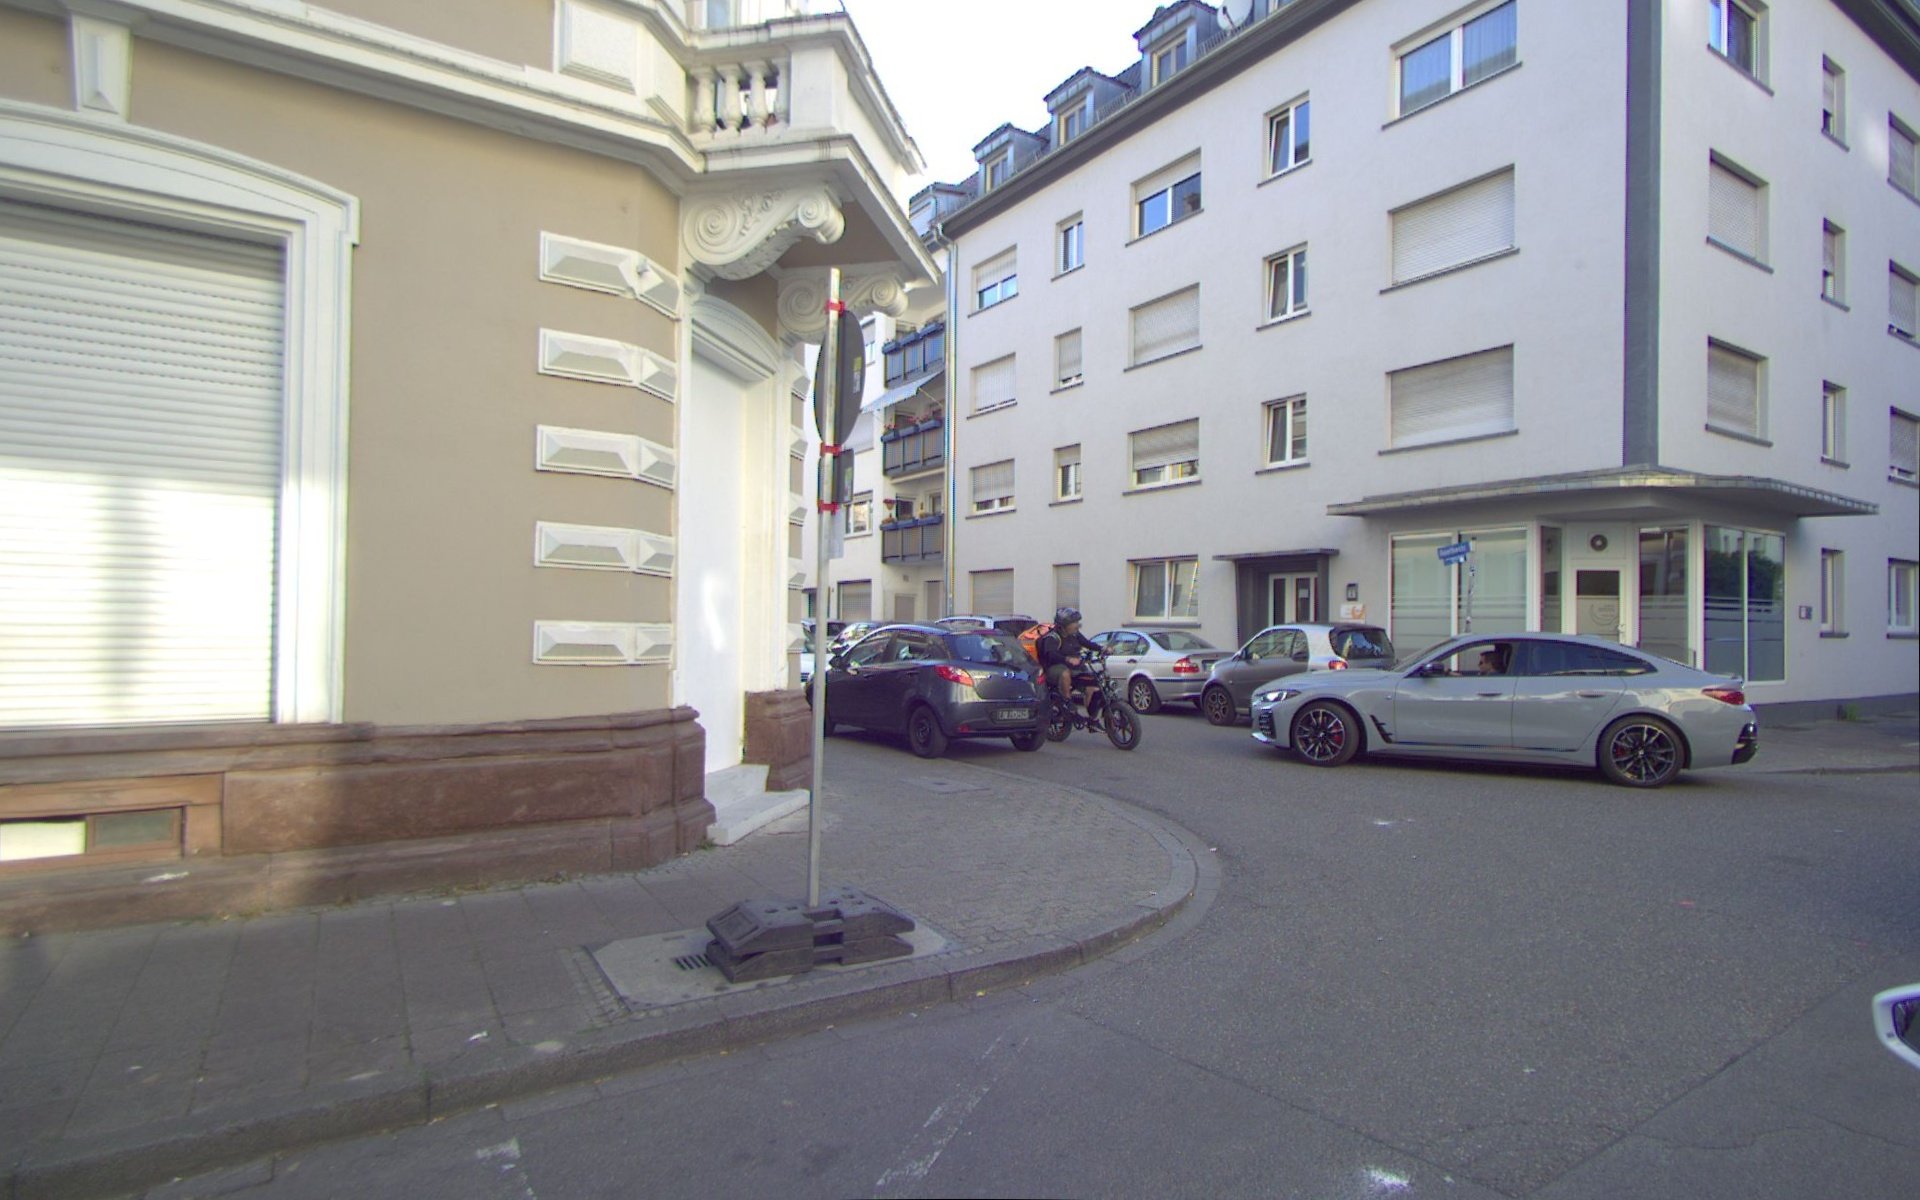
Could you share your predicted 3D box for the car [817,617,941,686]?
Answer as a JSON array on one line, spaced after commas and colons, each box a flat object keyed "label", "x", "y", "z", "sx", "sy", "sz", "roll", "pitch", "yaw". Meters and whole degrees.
[{"label": "car", "x": -2.156, "y": 1.280, "z": 25.974, "sx": 1.587, "sy": 1.560, "sz": 3.685, "roll": 1, "pitch": 0, "yaw": -34}]

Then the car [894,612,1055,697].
[{"label": "car", "x": 0.224, "y": 1.124, "z": 22.247, "sx": 1.586, "sy": 1.626, "sz": 3.993, "roll": 1, "pitch": 0, "yaw": -33}]

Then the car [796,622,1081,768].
[{"label": "car", "x": -0.399, "y": 1.021, "z": 12.257, "sx": 1.713, "sy": 1.470, "sz": 3.639, "roll": 1, "pitch": -2, "yaw": -36}]

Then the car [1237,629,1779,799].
[{"label": "car", "x": 5.519, "y": 1.072, "z": 10.800, "sx": 4.717, "sy": 1.470, "sz": 1.933, "roll": 0, "pitch": -1, "yaw": 22}]

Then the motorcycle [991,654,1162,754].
[{"label": "motorcycle", "x": 1.389, "y": 1.222, "z": 12.311, "sx": 0.964, "sy": 1.042, "sz": 1.974, "roll": 2, "pitch": -2, "yaw": -40}]

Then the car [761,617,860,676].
[{"label": "car", "x": -4.512, "y": 1.335, "z": 29.948, "sx": 1.586, "sy": 1.560, "sz": 3.470, "roll": 1, "pitch": 0, "yaw": -33}]

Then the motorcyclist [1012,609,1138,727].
[{"label": "motorcyclist", "x": 1.397, "y": 0.797, "z": 12.311, "sx": 0.964, "sy": 1.347, "sz": 1.214, "roll": 1, "pitch": -1, "yaw": -40}]

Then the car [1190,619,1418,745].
[{"label": "car", "x": 4.930, "y": 1.111, "z": 14.651, "sx": 1.576, "sy": 1.560, "sz": 2.771, "roll": 1, "pitch": 0, "yaw": -32}]

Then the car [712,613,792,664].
[{"label": "car", "x": -7.194, "y": 1.292, "z": 34.470, "sx": 1.585, "sy": 1.560, "sz": 3.472, "roll": 1, "pitch": 0, "yaw": -32}]

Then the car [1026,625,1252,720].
[{"label": "car", "x": 3.084, "y": 1.208, "z": 18.115, "sx": 1.586, "sy": 1.422, "sz": 4.179, "roll": 2, "pitch": -1, "yaw": -33}]

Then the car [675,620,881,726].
[{"label": "car", "x": -3.112, "y": 1.082, "z": 16.432, "sx": 1.884, "sy": 1.481, "sz": 4.286, "roll": 1, "pitch": -2, "yaw": -32}]
